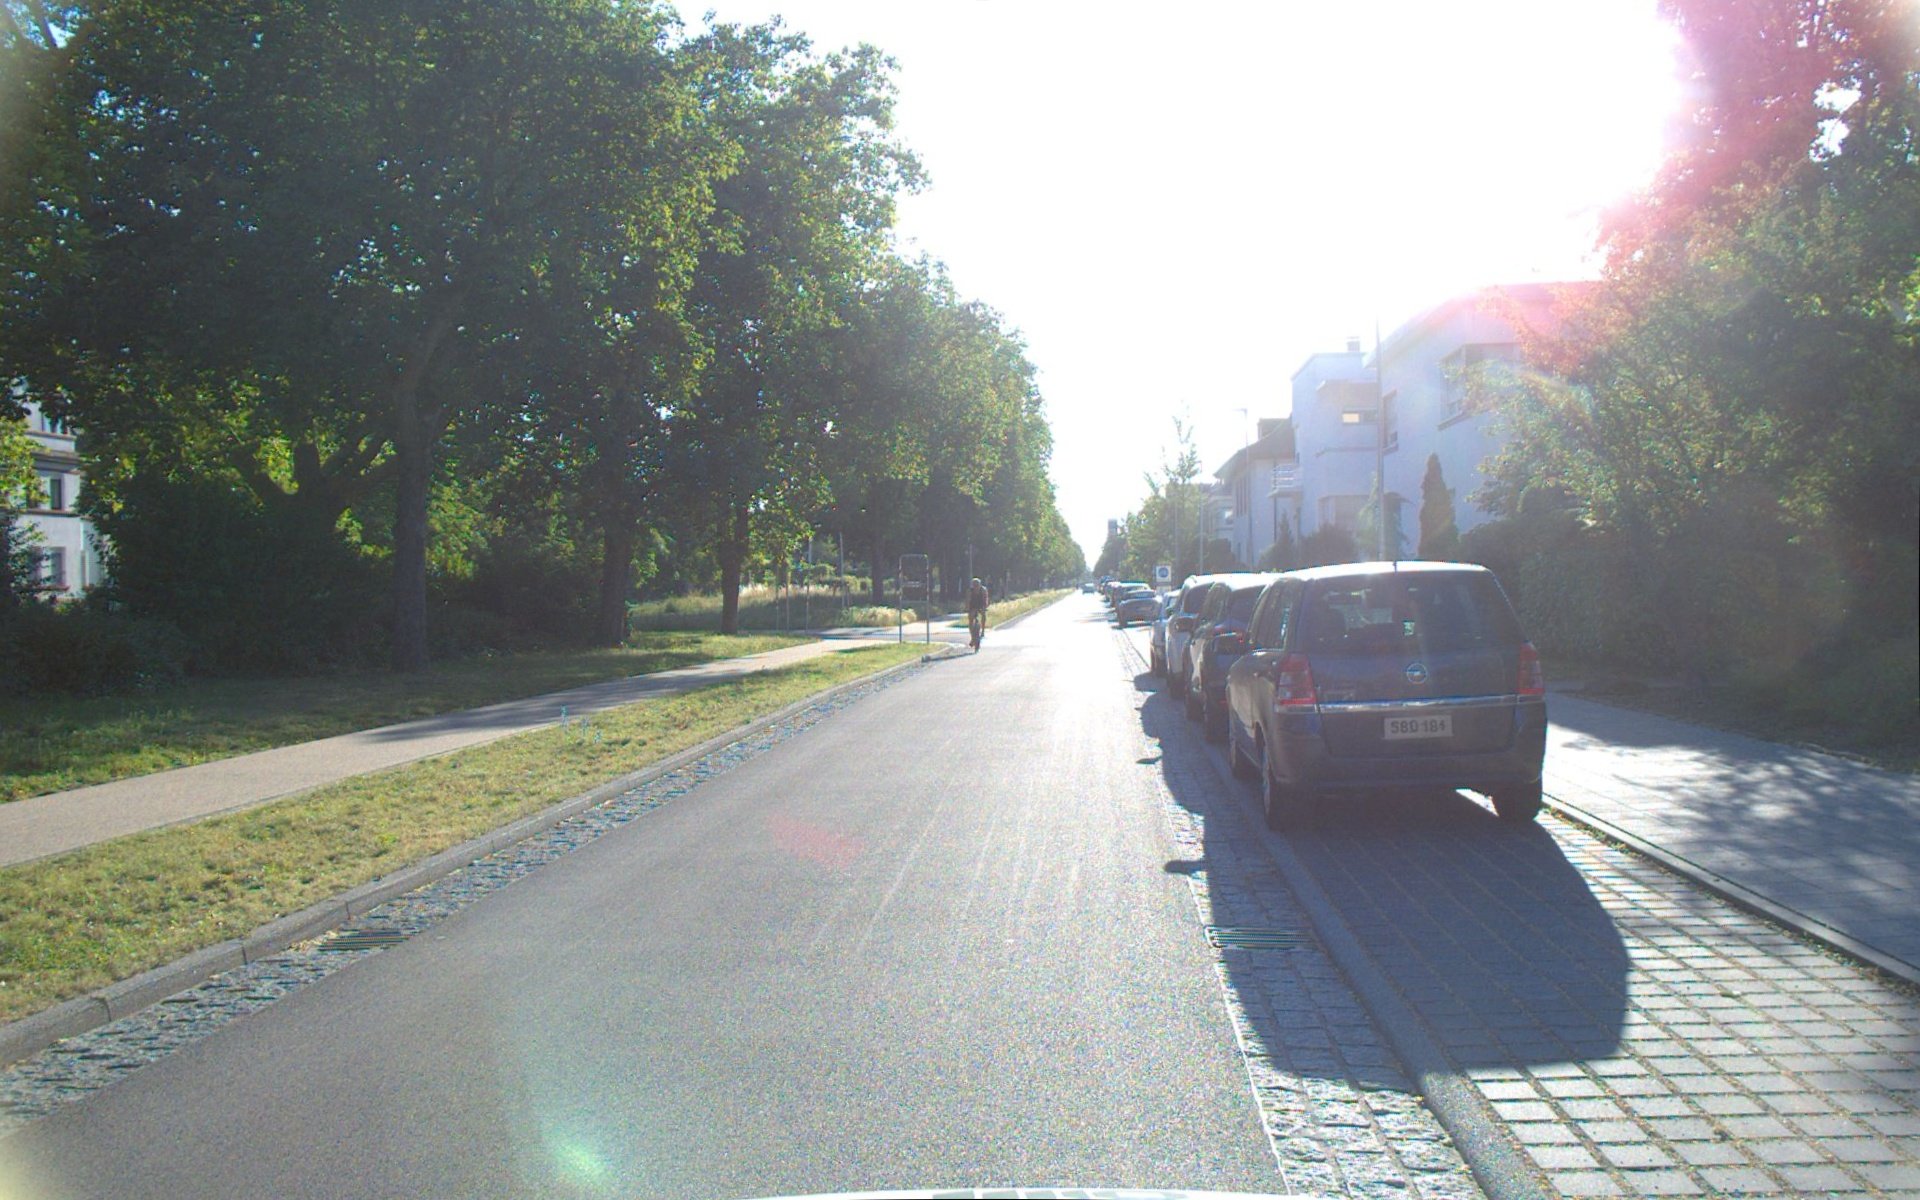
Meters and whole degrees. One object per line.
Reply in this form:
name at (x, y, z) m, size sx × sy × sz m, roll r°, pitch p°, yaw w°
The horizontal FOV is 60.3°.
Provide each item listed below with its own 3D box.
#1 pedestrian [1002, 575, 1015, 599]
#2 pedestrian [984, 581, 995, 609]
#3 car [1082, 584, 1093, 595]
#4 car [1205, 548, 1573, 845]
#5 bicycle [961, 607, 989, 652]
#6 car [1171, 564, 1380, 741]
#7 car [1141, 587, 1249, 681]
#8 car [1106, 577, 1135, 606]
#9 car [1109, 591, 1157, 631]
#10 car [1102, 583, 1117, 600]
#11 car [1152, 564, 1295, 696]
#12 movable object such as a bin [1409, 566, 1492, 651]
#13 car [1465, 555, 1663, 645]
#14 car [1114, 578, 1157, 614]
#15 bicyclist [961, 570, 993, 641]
pedestrian at (3.326, -0.874, 113.274) m, size 0.766 × 1.642 × 0.952 m, roll -1°, pitch 0°, yaw 8°
pedestrian at (2.048, -0.335, 113.194) m, size 0.611 × 1.863 × 0.887 m, roll -1°, pitch 0°, yaw 8°
car at (19.073, -1.601, 246.814) m, size 1.617 × 1.568 × 3.268 m, roll 0°, pitch 0°, yaw 5°
car at (2.795, 0.536, 11.681) m, size 1.674 × 1.638 × 4.171 m, roll -3°, pitch 1°, yaw 3°
bicycle at (0.381, 0.715, 40.850) m, size 0.544 × 1.050 × 1.916 m, roll -2°, pitch 0°, yaw 4°
car at (3.211, 0.474, 17.512) m, size 1.643 × 1.582 × 4.147 m, roll -2°, pitch 0°, yaw 4°
car at (3.957, 0.521, 28.368) m, size 1.531 × 1.414 × 4.377 m, roll -2°, pitch 0°, yaw 5°
car at (9.391, -0.513, 96.661) m, size 1.593 × 1.531 × 3.635 m, roll -3°, pitch 1°, yaw 5°
car at (6.793, 0.418, 65.165) m, size 1.737 × 1.310 × 4.275 m, roll -4°, pitch 1°, yaw 5°
car at (14.903, -0.833, 164.519) m, size 1.466 × 1.594 × 3.269 m, roll -1°, pitch 0°, yaw 6°
car at (3.540, 0.354, 22.804) m, size 1.643 × 1.582 × 4.133 m, roll -2°, pitch 0°, yaw 6°
movable object such as a bin at (8.615, 0.142, 29.110) m, size 1.211 × 1.457 × 1.124 m, roll -1°, pitch 0°, yaw 6°
car at (11.726, 0.001, 32.298) m, size 3.418 × 1.670 × 1.644 m, roll -1°, pitch 0°, yaw 13°
car at (8.110, -0.185, 76.576) m, size 1.708 × 1.499 × 3.924 m, roll -4°, pitch 0°, yaw 4°
bicyclist at (0.424, 0.143, 40.860) m, size 0.667 × 1.702 × 1.173 m, roll -2°, pitch -1°, yaw 4°
